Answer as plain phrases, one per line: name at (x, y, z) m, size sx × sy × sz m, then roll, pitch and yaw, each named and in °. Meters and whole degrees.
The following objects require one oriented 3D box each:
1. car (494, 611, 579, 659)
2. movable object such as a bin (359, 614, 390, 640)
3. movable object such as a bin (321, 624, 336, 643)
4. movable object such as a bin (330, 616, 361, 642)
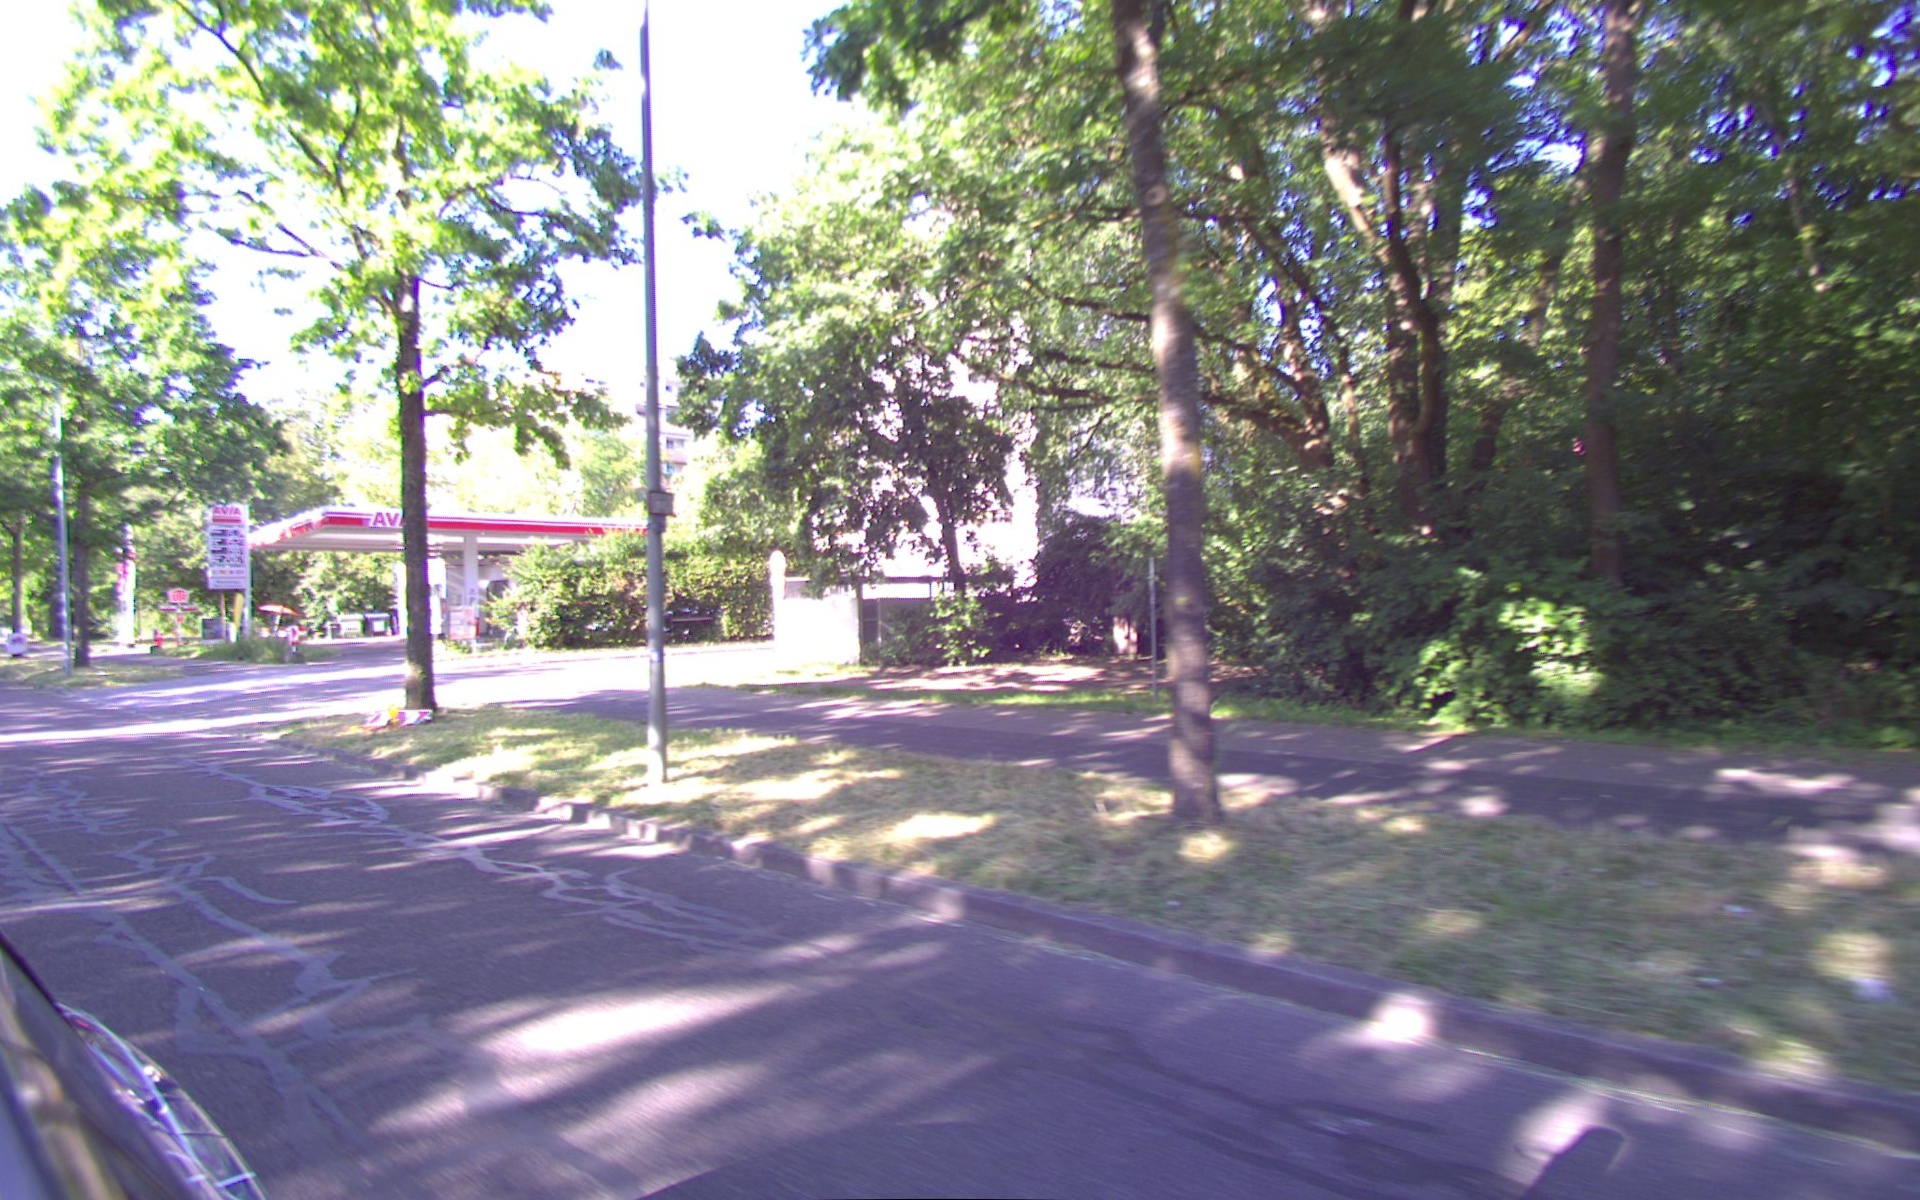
car at (-14.125, 1.154, 33.649) m, size 1.527 × 1.433 × 3.491 m, roll -3°, pitch 1°, yaw -41°
movable object such as a bin at (-36.543, 1.677, 63.176) m, size 1.163 × 1.553 × 1.291 m, roll -2°, pitch 0°, yaw 41°
movable object such as a bin at (-38.301, 2.040, 61.386) m, size 0.768 × 1.094 × 0.562 m, roll -2°, pitch -1°, yaw 41°
movable object such as a bin at (-37.686, 1.797, 62.082) m, size 1.267 × 1.553 × 1.290 m, roll -2°, pitch -1°, yaw 41°
